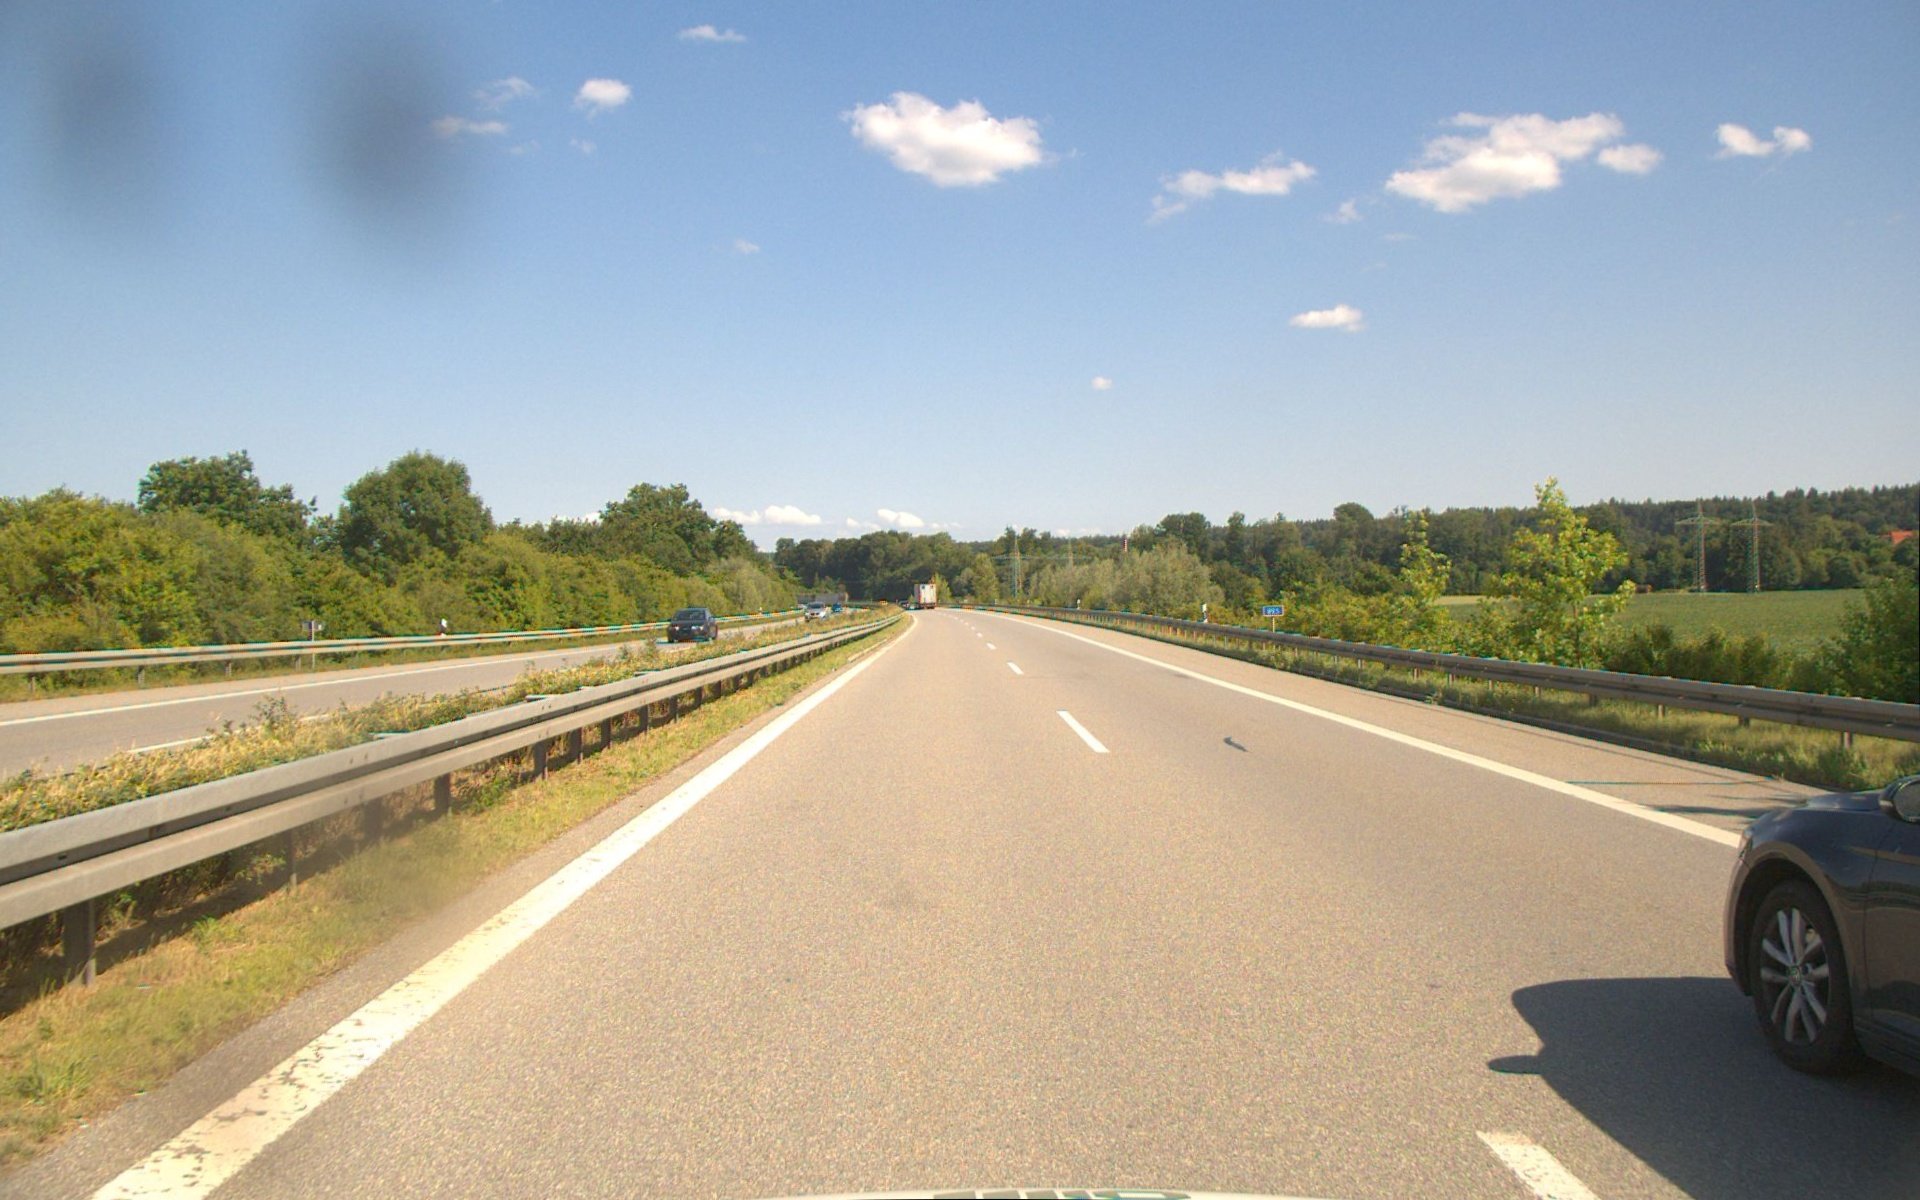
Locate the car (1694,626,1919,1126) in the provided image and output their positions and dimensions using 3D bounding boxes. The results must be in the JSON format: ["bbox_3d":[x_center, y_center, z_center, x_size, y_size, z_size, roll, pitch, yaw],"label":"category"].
[{"bbox_3d":[3.627,0.812,3.971,1.684,1.424,4.412,1,0,-1],"label":"car"}]

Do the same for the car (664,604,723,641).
[{"bbox_3d":[-11.550,0.962,71.874,1.703,1.470,4.768,-1,0,0],"label":"car"}]

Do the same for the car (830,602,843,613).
[{"bbox_3d":[-17.223,1.037,230.989,1.643,1.466,3.998,-3,0,-2],"label":"car"}]

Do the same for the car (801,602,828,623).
[{"bbox_3d":[-11.871,0.990,135.210,1.872,1.616,4.914,-2,0,-3],"label":"car"}]
